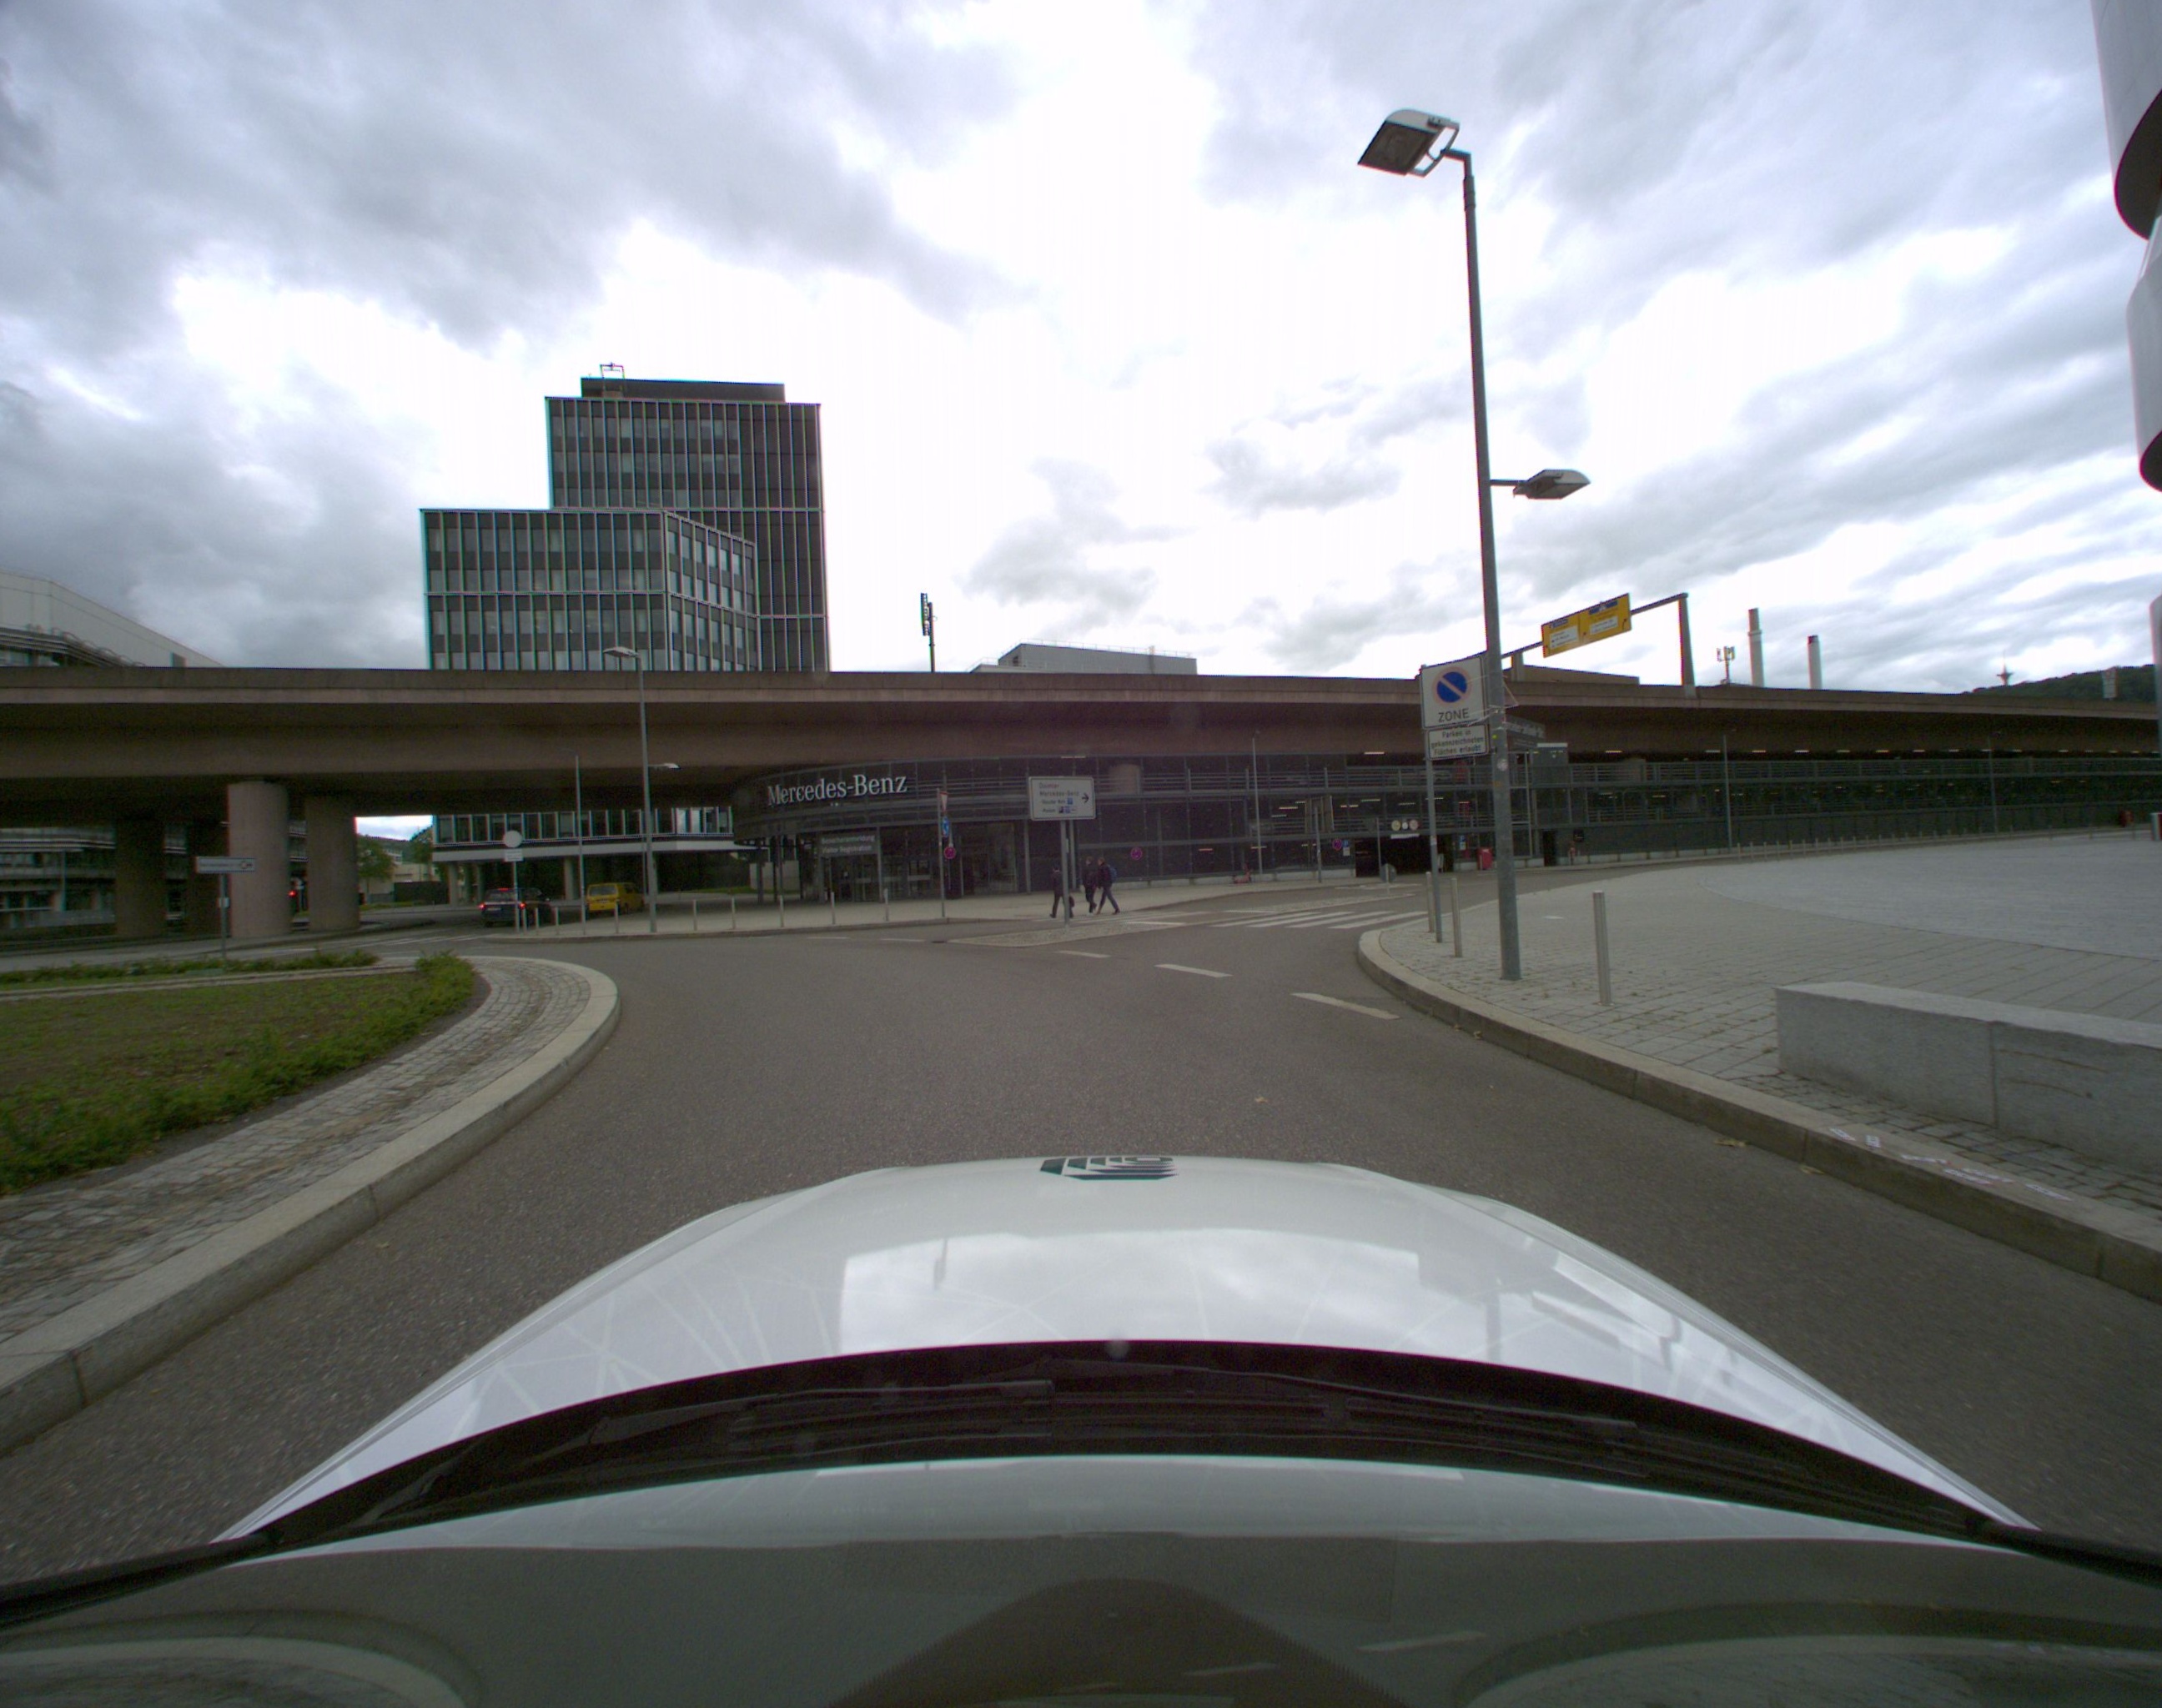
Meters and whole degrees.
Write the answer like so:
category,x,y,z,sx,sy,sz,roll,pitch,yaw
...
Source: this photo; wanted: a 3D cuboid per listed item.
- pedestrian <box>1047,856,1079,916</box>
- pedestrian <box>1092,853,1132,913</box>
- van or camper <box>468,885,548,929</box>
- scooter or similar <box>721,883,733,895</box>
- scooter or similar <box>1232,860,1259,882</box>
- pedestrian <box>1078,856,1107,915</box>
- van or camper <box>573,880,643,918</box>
category,x,y,z,sx,sy,sz,roll,pitch,yaw
pedestrian,-0.539,0.935,23.957,0.861,1.705,0.772,-2,-1,-3
pedestrian,0.950,0.883,25.014,0.870,1.798,0.774,-1,-1,-41
van or camper,-28.729,2.595,41.025,2.155,1.893,4.866,-2,0,-21
scooter or similar,-32.198,3.172,74.074,0.704,1.105,1.484,-2,-1,-37
scooter or similar,8.989,0.918,44.484,1.426,1.123,0.379,-2,-1,-15
pedestrian,0.354,0.913,24.127,0.781,1.705,0.773,-2,-1,3
van or camper,-27.830,2.602,48.083,2.358,1.999,4.483,-2,0,-14
